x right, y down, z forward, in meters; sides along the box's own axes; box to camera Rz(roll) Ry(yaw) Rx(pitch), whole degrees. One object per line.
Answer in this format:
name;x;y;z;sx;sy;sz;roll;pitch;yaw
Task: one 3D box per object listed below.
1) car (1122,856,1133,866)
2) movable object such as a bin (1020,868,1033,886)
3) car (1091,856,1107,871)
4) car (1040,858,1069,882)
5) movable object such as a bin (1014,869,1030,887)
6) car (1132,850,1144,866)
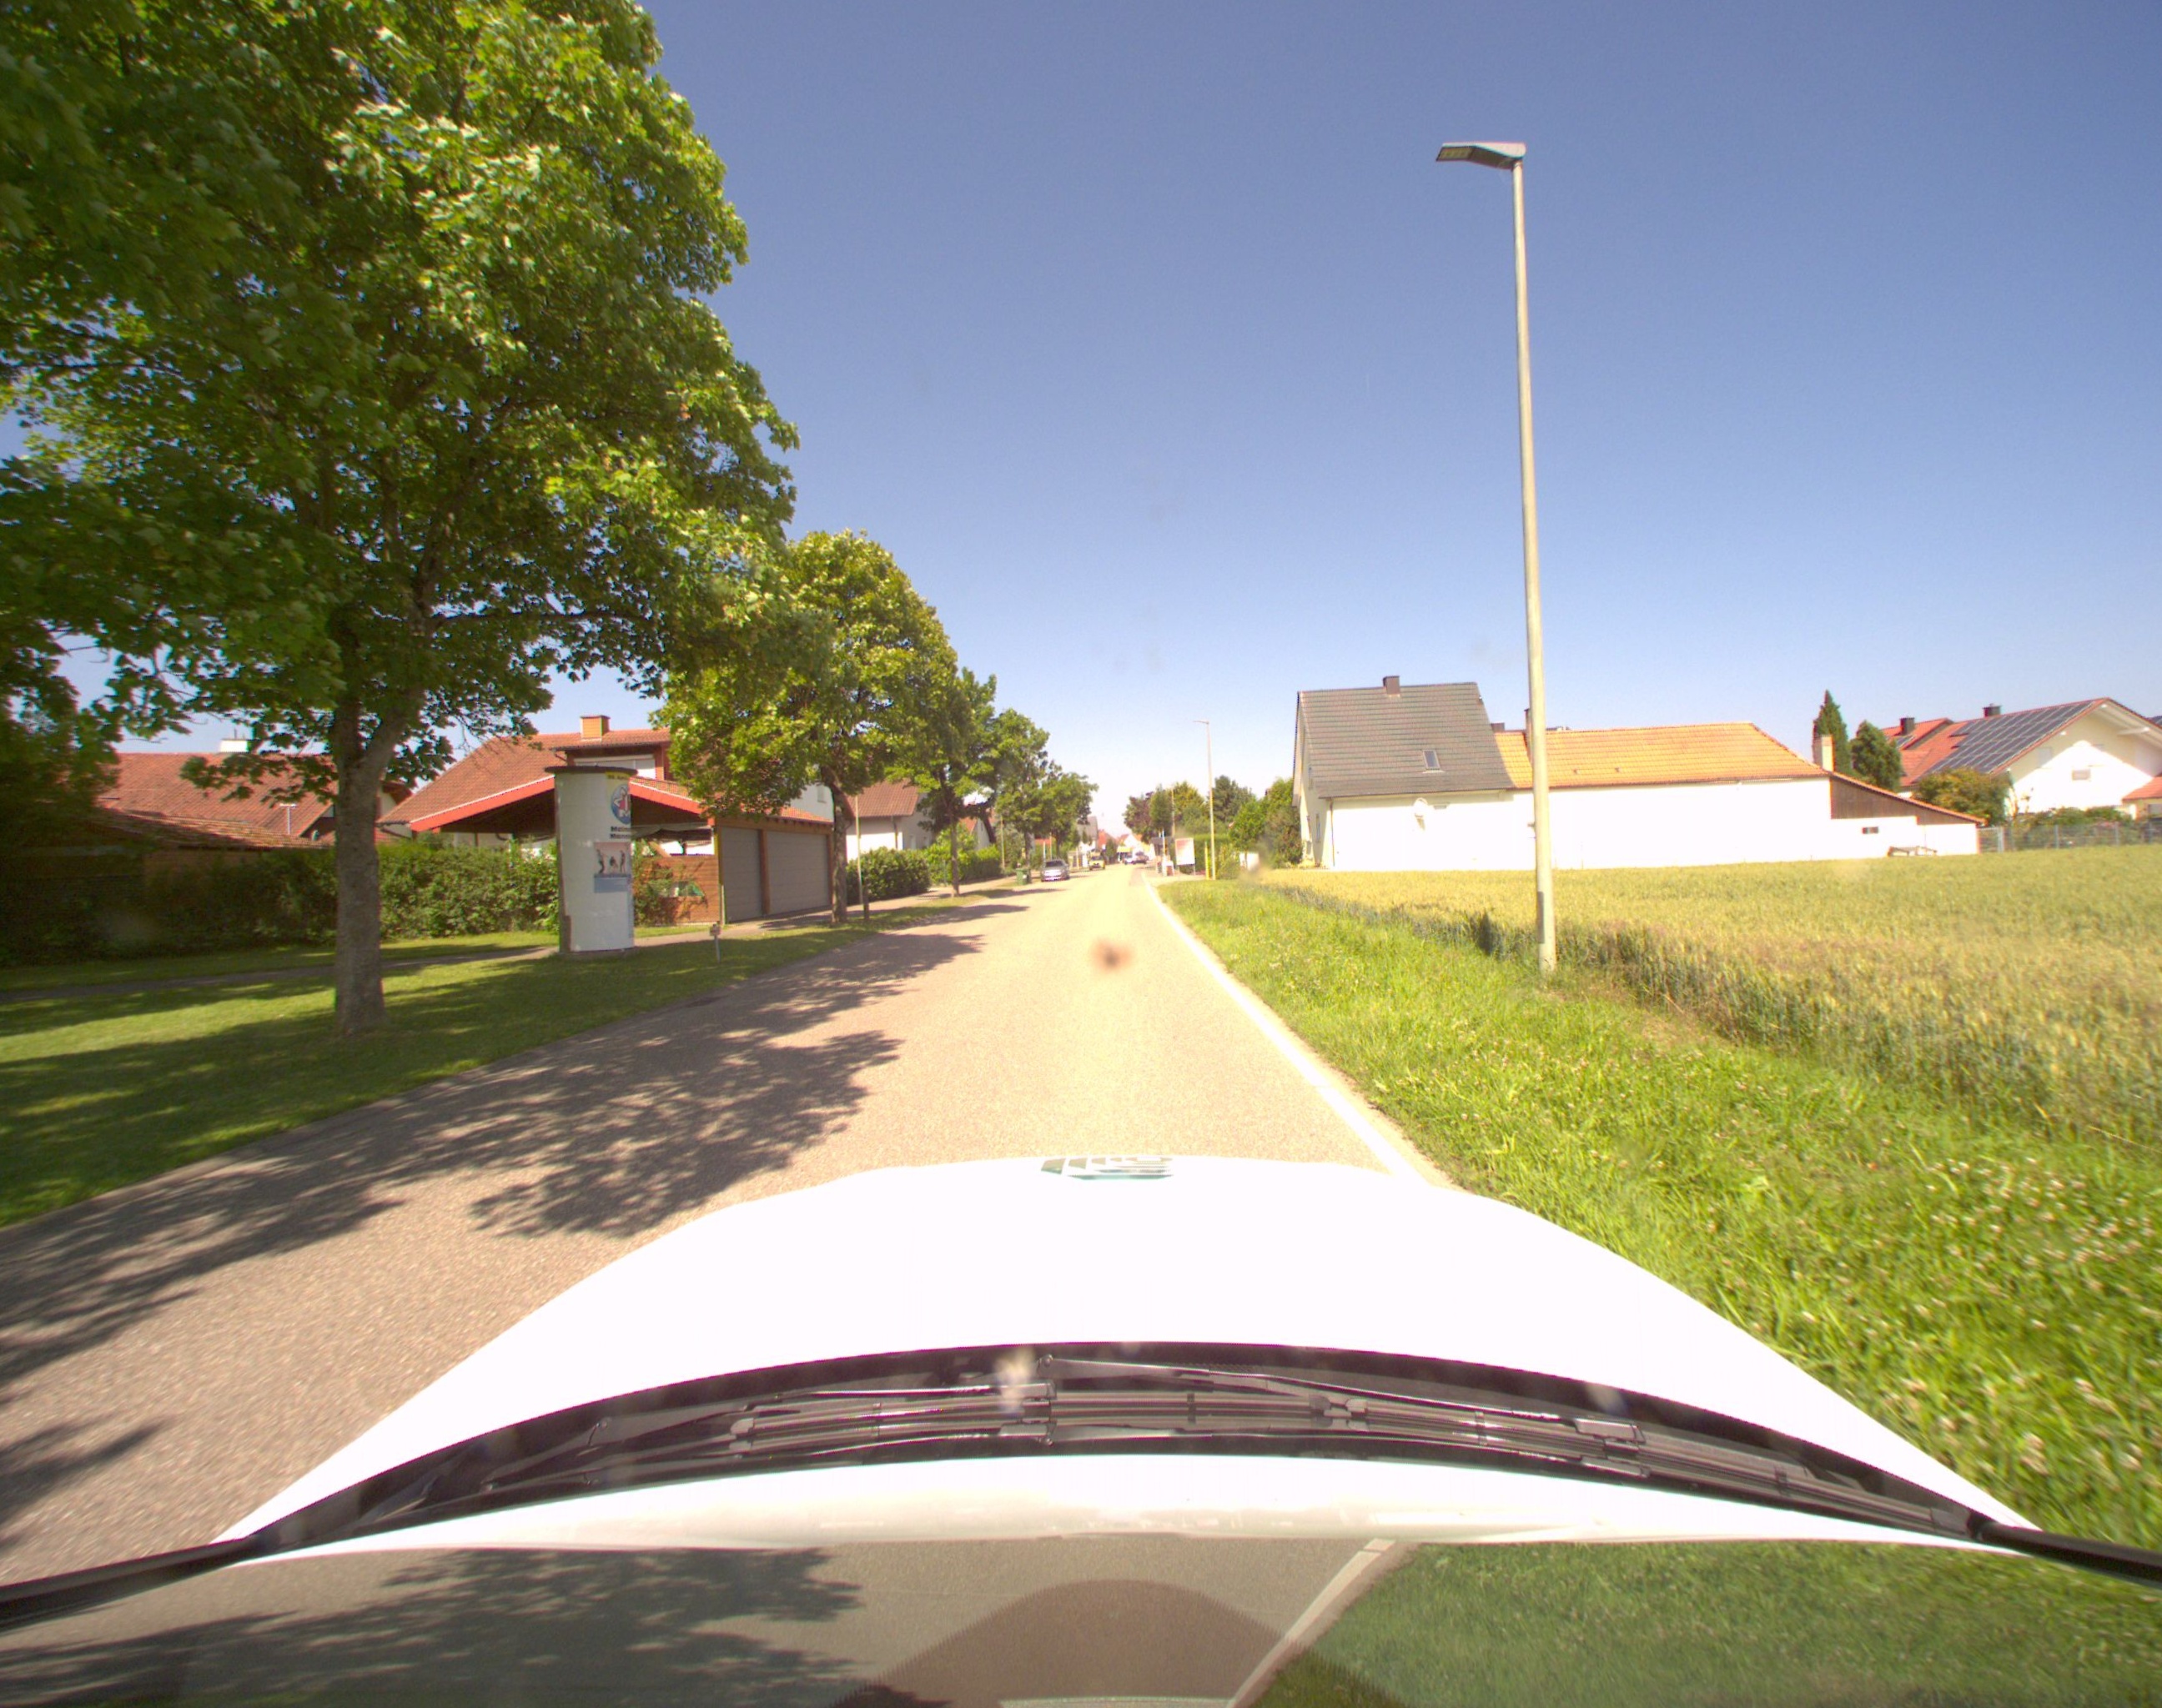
car;8.812;1.388;153.541;1.829;1.753;3.797;-3;0;1
movable object such as a bin;-3.385;1.424;50.550;0.570;1.079;0.601;-3;-1;16
car;2.039;1.067;91.272;1.660;1.524;3.442;-3;-1;0
car;-1.772;1.056;55.260;1.641;1.423;4.081;-5;-1;1
movable object such as a bin;-3.607;1.453;49.896;0.706;1.079;0.643;-3;-1;28
car;9.079;0.619;129.774;1.730;2.432;4.378;-3;-1;3
